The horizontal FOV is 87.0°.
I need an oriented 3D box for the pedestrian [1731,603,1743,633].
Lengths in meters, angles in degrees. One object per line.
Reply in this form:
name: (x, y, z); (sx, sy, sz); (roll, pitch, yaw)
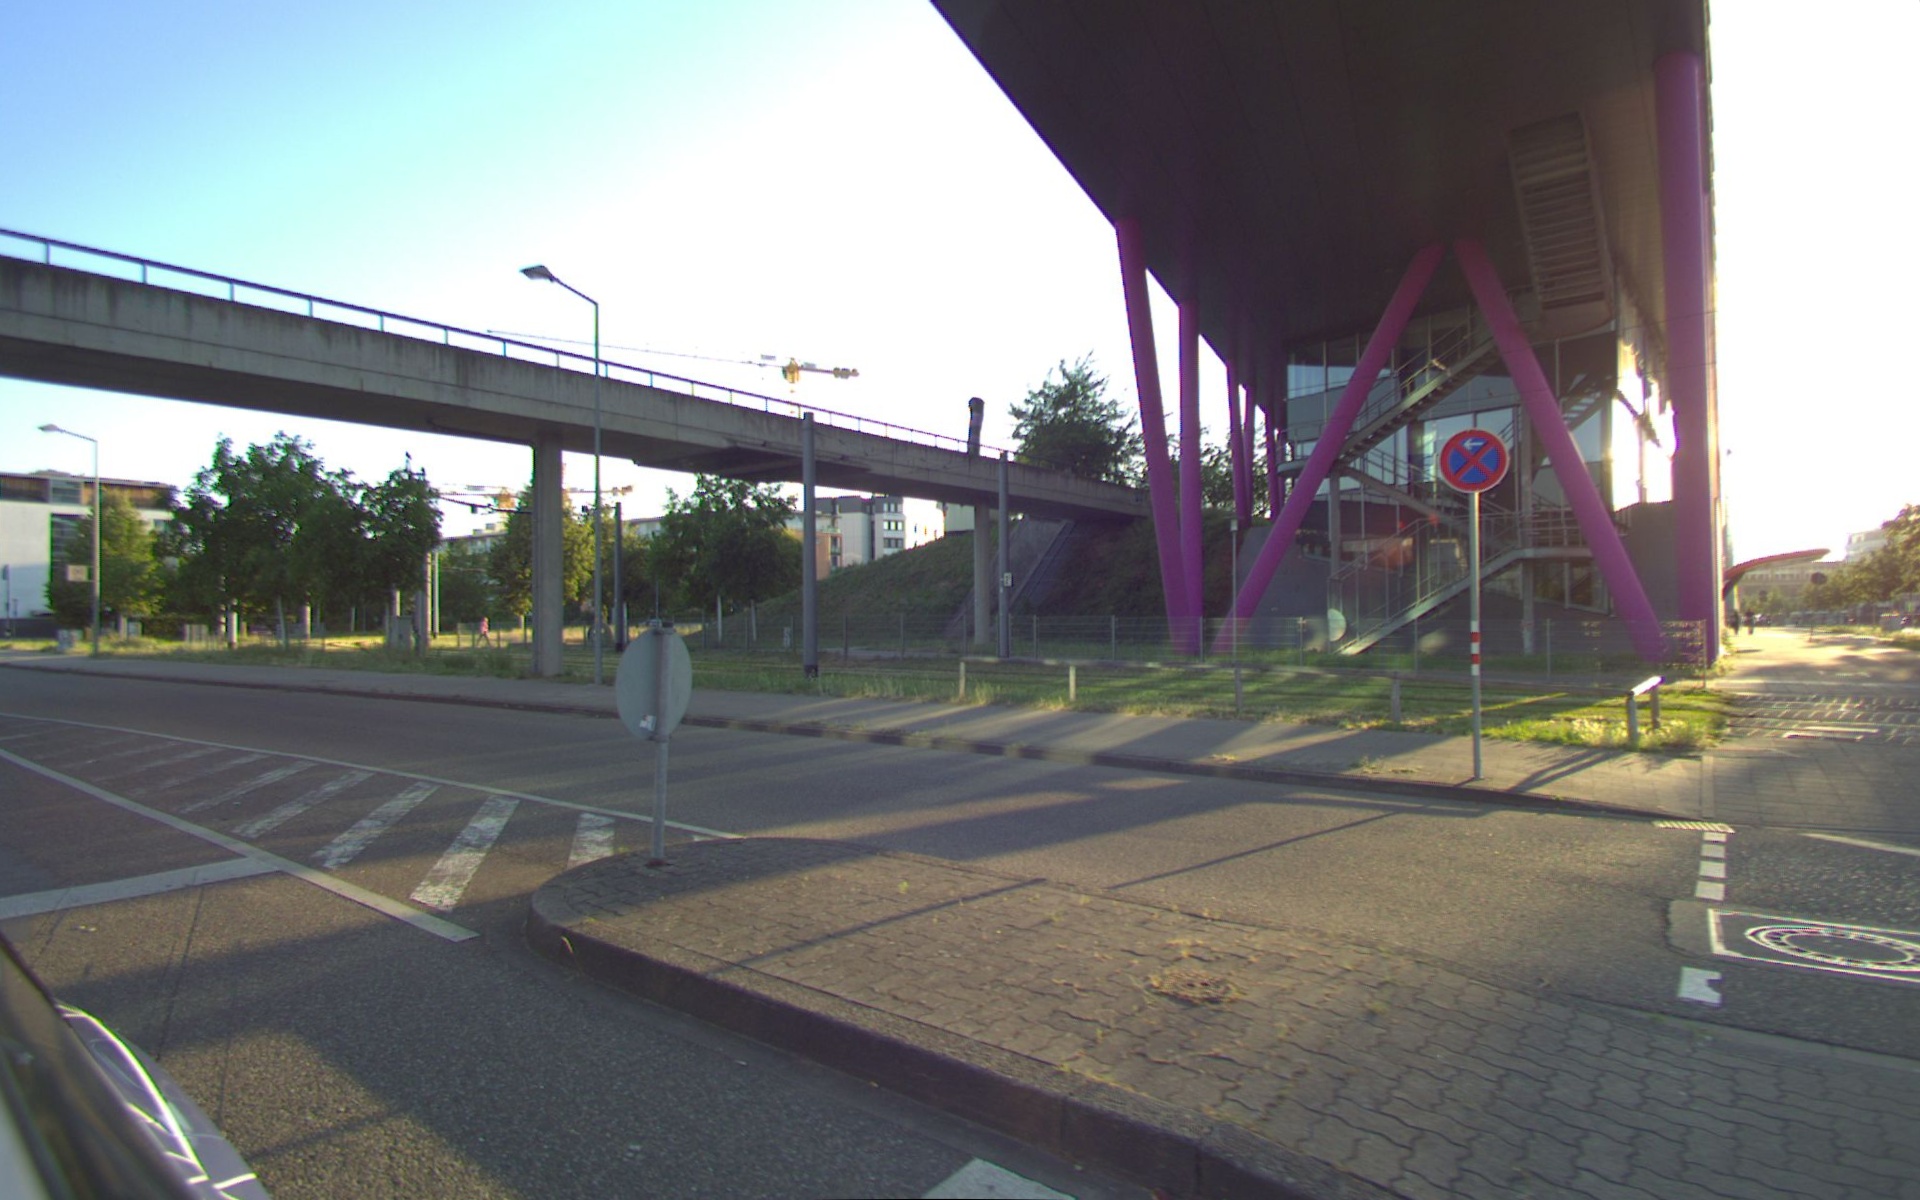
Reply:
pedestrian: (51.542, 1.189, 67.150); (0.618, 2.029, 0.802); (-1, -1, 37)

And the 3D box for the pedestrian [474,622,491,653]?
pedestrian: (-25.799, 2.025, 54.711); (0.768, 1.623, 0.417); (0, -2, -40)

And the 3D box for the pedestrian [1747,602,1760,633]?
pedestrian: (52.238, 1.179, 66.629); (0.618, 2.029, 0.802); (-1, -1, 37)

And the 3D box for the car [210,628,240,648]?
car: (-67.196, 3.485, 92.548); (1.843, 1.734, 3.849); (0, -2, -42)

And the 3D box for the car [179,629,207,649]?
car: (-68.946, 3.481, 90.908); (1.842, 1.734, 3.851); (0, -2, -39)

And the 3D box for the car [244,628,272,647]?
car: (-65.456, 3.495, 94.335); (1.843, 1.734, 3.851); (0, -2, -40)
